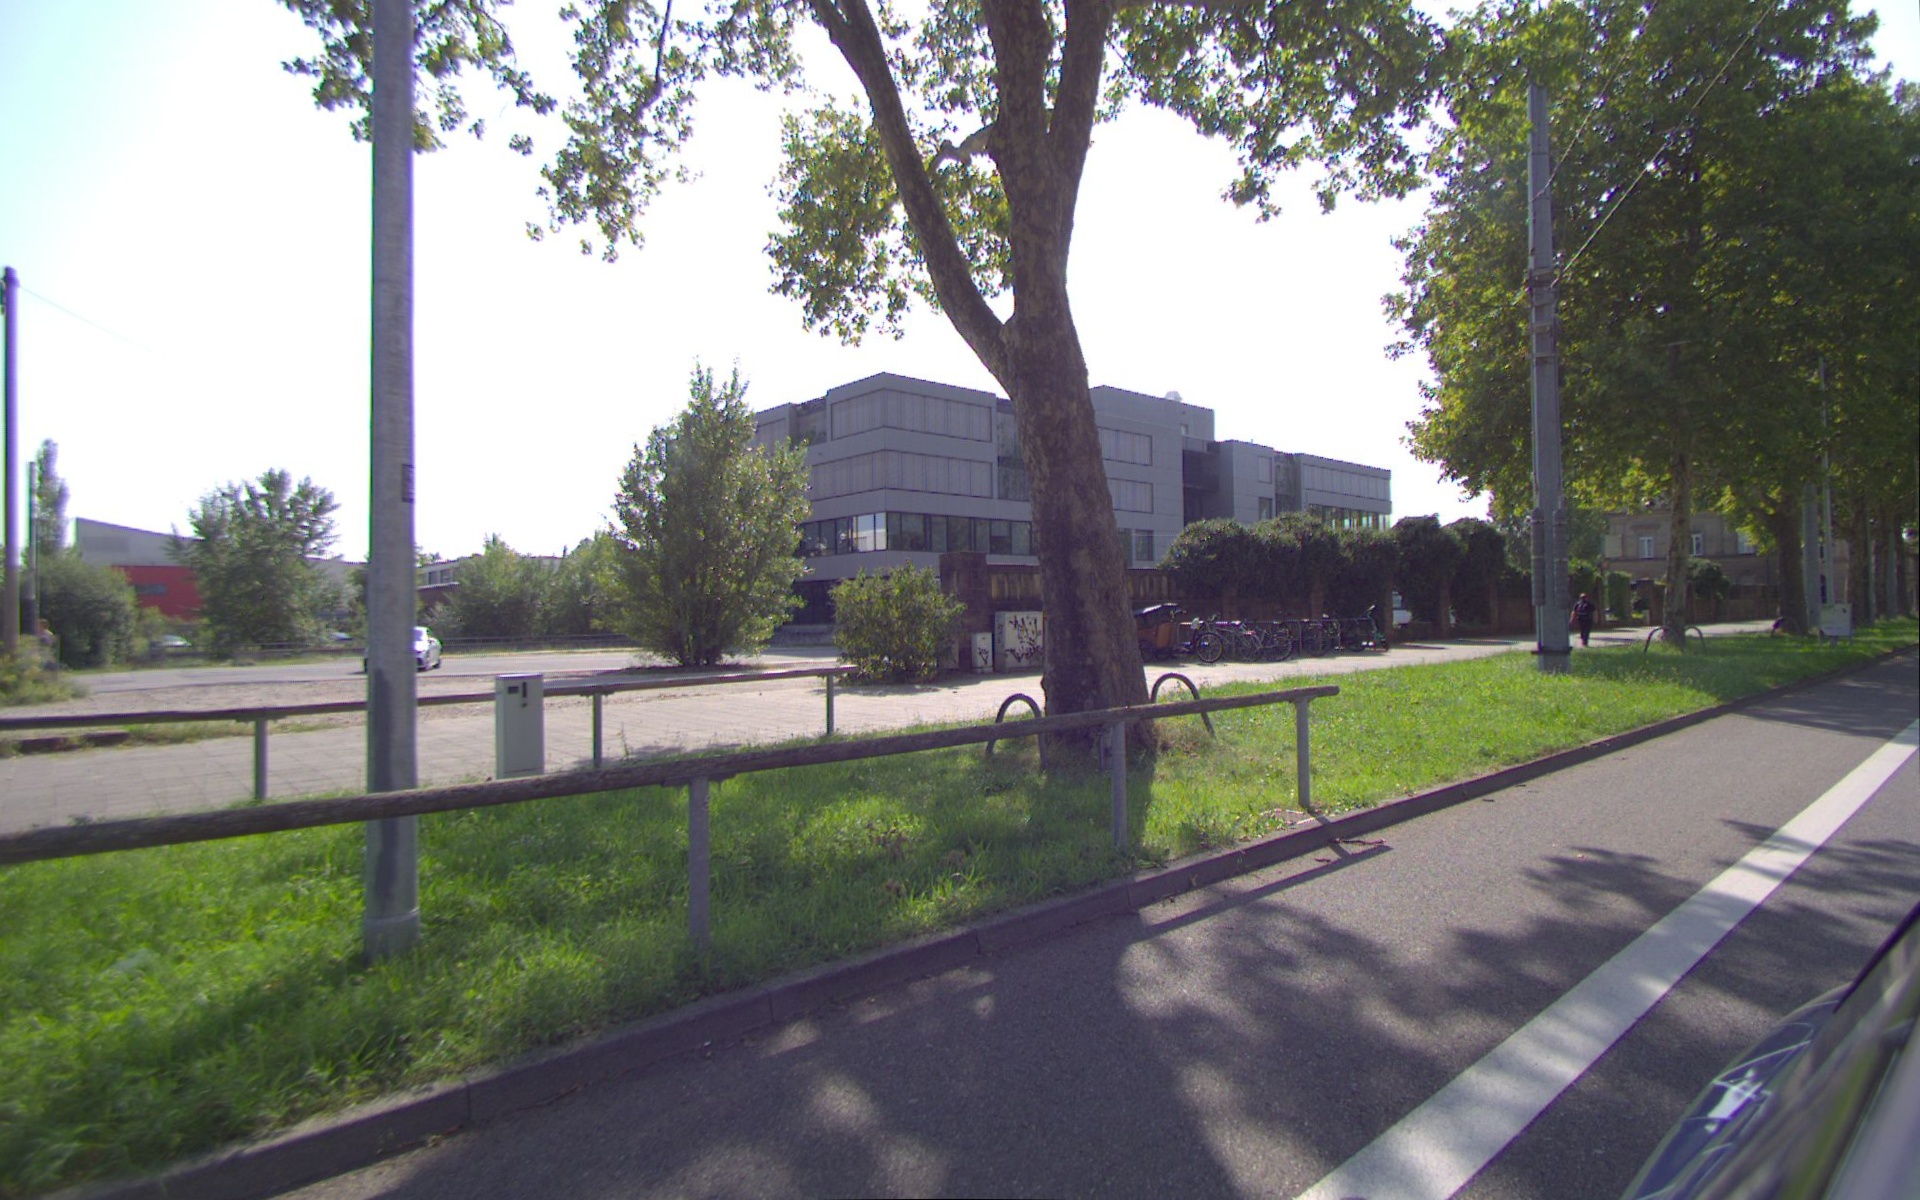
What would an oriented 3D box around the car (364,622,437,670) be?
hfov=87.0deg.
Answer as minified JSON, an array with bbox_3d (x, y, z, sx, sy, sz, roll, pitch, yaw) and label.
[{"bbox_3d":[-18.047,1.434,32.765,1.650,1.401,3.786,-1,-1,-23],"label":"car"}]

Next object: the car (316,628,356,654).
[{"bbox_3d":[-48.533,3.189,78.682,1.966,1.907,3.990,2,-5,-42],"label":"car"}]

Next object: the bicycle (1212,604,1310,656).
[{"bbox_3d":[7.017,0.678,23.685,0.730,1.090,2.179,0,1,-38],"label":"bicycle"}]

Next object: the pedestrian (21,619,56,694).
[{"bbox_3d":[-20.263,1.228,22.256,0.498,1.600,0.513,-2,-1,38],"label":"pedestrian"}]

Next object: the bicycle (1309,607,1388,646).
[{"bbox_3d":[10.565,0.711,27.583,0.722,1.019,1.868,0,-1,-43],"label":"bicycle"}]

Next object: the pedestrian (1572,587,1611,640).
[{"bbox_3d":[18.681,0.391,29.945,0.773,1.534,0.784,0,-1,-42],"label":"pedestrian"}]

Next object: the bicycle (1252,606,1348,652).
[{"bbox_3d":[8.486,0.713,25.307,0.731,1.090,2.175,0,-1,-43],"label":"bicycle"}]

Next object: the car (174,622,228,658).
[{"bbox_3d":[-46.866,2.439,62.461,3.985,2.039,1.969,-1,0,43],"label":"car"}]

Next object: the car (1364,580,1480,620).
[{"bbox_3d":[21.292,0.036,46.758,1.878,1.756,4.525,0,-1,-43],"label":"car"}]

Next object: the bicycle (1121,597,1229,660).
[{"bbox_3d":[4.810,0.595,22.759,0.982,1.293,2.247,-1,2,-42],"label":"bicycle"}]

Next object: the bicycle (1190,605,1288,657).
[{"bbox_3d":[6.373,0.684,23.243,0.730,1.090,2.179,0,1,-38],"label":"bicycle"}]

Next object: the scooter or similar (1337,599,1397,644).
[{"bbox_3d":[11.405,0.589,28.399,0.529,1.206,1.509,0,0,-37],"label":"scooter or similar"}]
